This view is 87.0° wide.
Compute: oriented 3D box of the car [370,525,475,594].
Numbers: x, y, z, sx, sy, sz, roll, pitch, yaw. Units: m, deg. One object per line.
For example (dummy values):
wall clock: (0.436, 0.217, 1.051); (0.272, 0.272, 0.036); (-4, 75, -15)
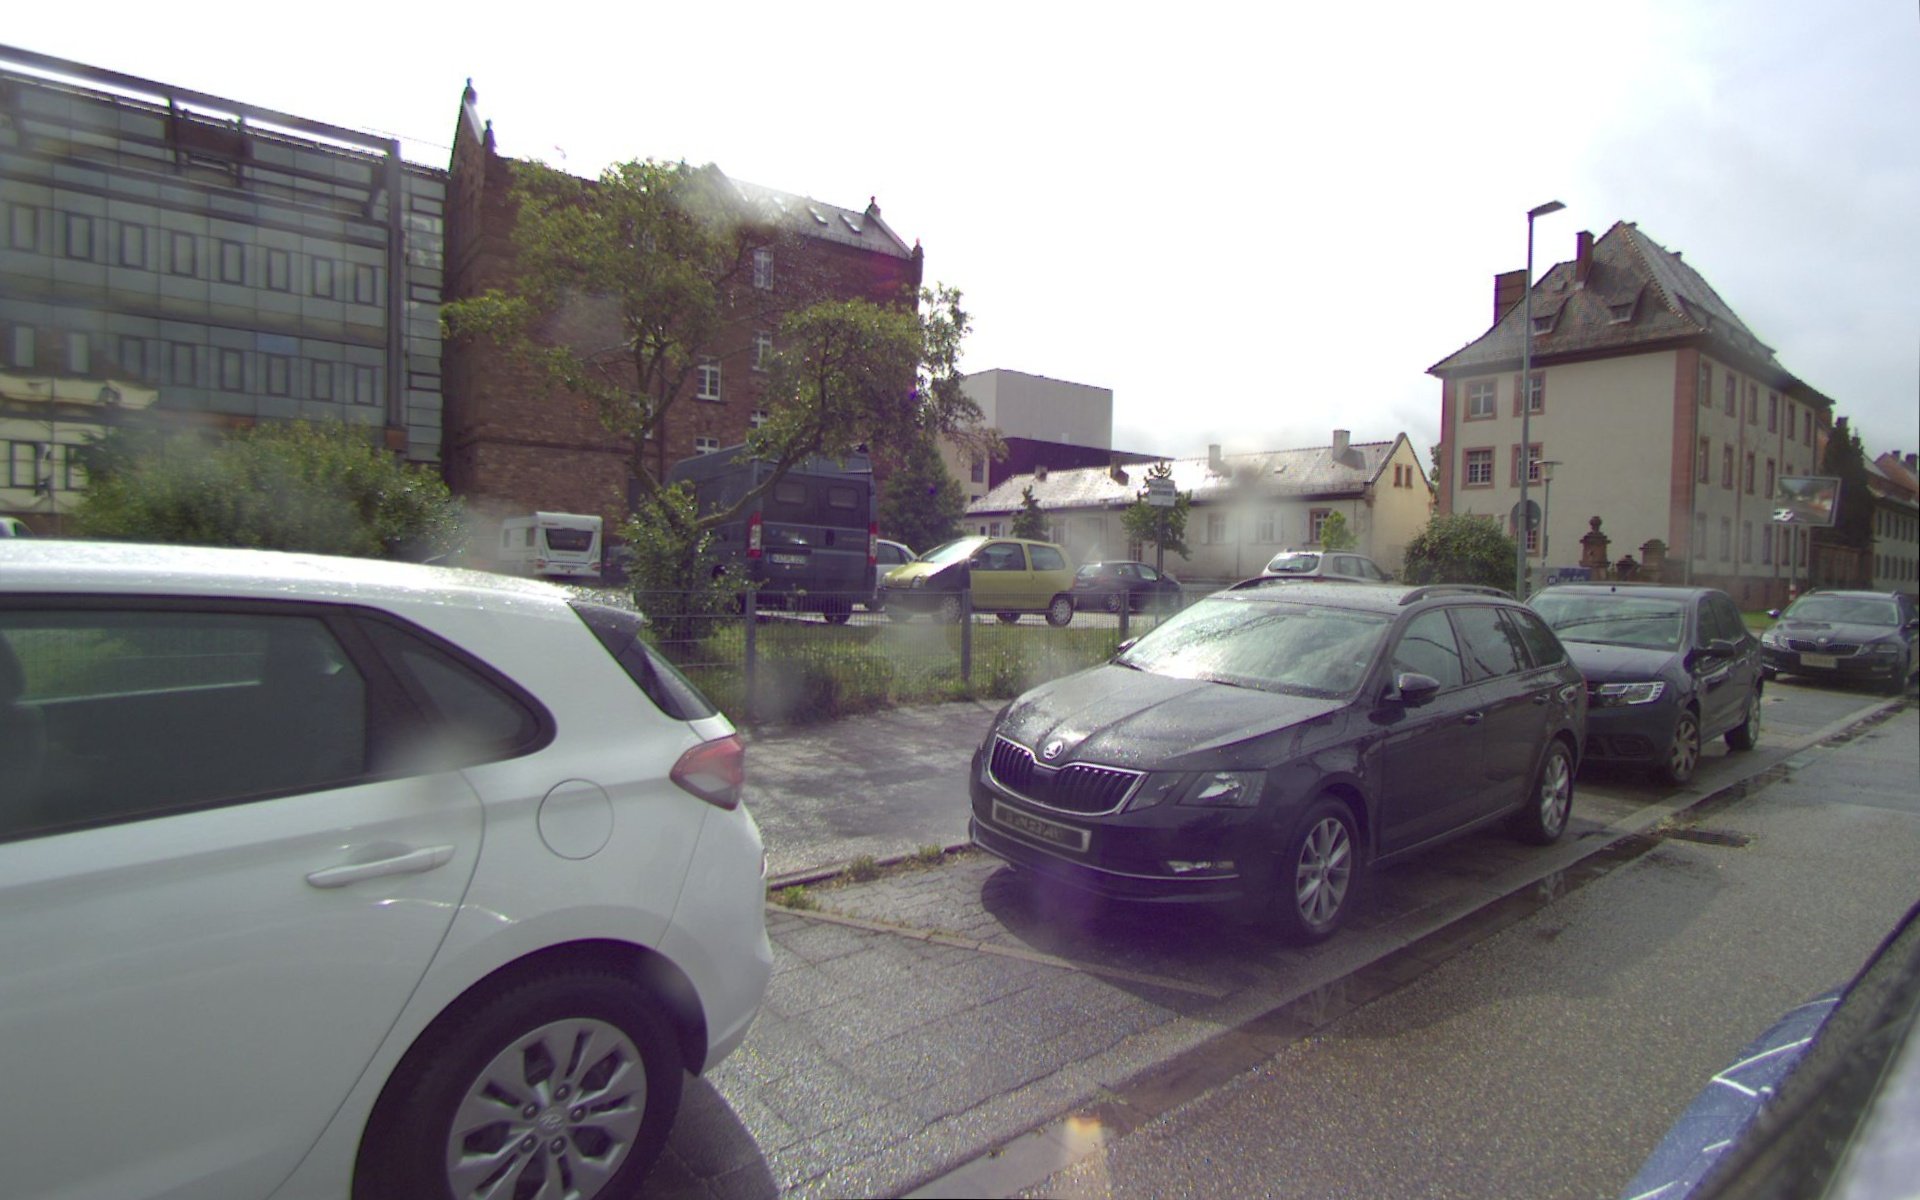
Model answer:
car: (-12.756, -0.976, 23.892); (1.641, 1.483, 3.987); (0, 3, -36)

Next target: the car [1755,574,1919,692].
car: (14.460, 0.436, 16.221); (4.300, 1.558, 1.779); (0, 4, -40)

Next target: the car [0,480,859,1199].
car: (-2.328, 0.568, 1.844); (4.042, 1.526, 1.751); (-2, 3, -42)

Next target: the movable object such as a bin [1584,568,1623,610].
movable object such as a bin: (23.545, -0.394, 37.042); (1.076, 1.475, 0.802); (0, 3, -37)

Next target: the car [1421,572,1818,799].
car: (5.879, 0.541, 8.866); (3.928, 1.546, 1.761); (-1, 2, -39)

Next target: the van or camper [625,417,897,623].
van or camper: (-3.203, -1.112, 15.389); (2.134, 2.585, 5.014); (-1, 2, -36)

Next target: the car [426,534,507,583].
car: (-16.782, -1.358, 34.379); (1.656, 1.538, 3.503); (-1, 1, -40)

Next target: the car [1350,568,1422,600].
car: (20.600, -0.770, 48.883); (3.508, 1.464, 1.600); (0, 3, -37)

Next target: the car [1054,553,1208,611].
car: (5.057, -0.529, 29.702); (4.337, 1.545, 1.836); (0, 3, -34)

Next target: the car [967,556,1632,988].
car: (2.119, 0.577, 5.650); (4.087, 1.526, 1.608); (-1, 5, -41)

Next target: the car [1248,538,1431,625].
car: (8.492, -0.419, 22.545); (4.159, 1.771, 1.810); (0, 3, -36)

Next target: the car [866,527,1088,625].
car: (0.309, -0.403, 16.707); (3.352, 1.466, 1.616); (0, 3, -36)

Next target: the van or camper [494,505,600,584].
van or camper: (-14.581, -1.860, 35.596); (2.217, 2.517, 4.797); (-1, 1, -38)

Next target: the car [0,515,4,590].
car: (-19.244, -0.883, 18.789); (1.608, 1.504, 3.680); (0, 3, -35)

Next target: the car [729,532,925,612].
car: (-2.705, -0.577, 20.832); (3.648, 1.504, 1.655); (0, 3, -36)

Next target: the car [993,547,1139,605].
car: (3.373, -0.740, 31.921); (4.336, 1.699, 1.861); (0, 3, -33)
